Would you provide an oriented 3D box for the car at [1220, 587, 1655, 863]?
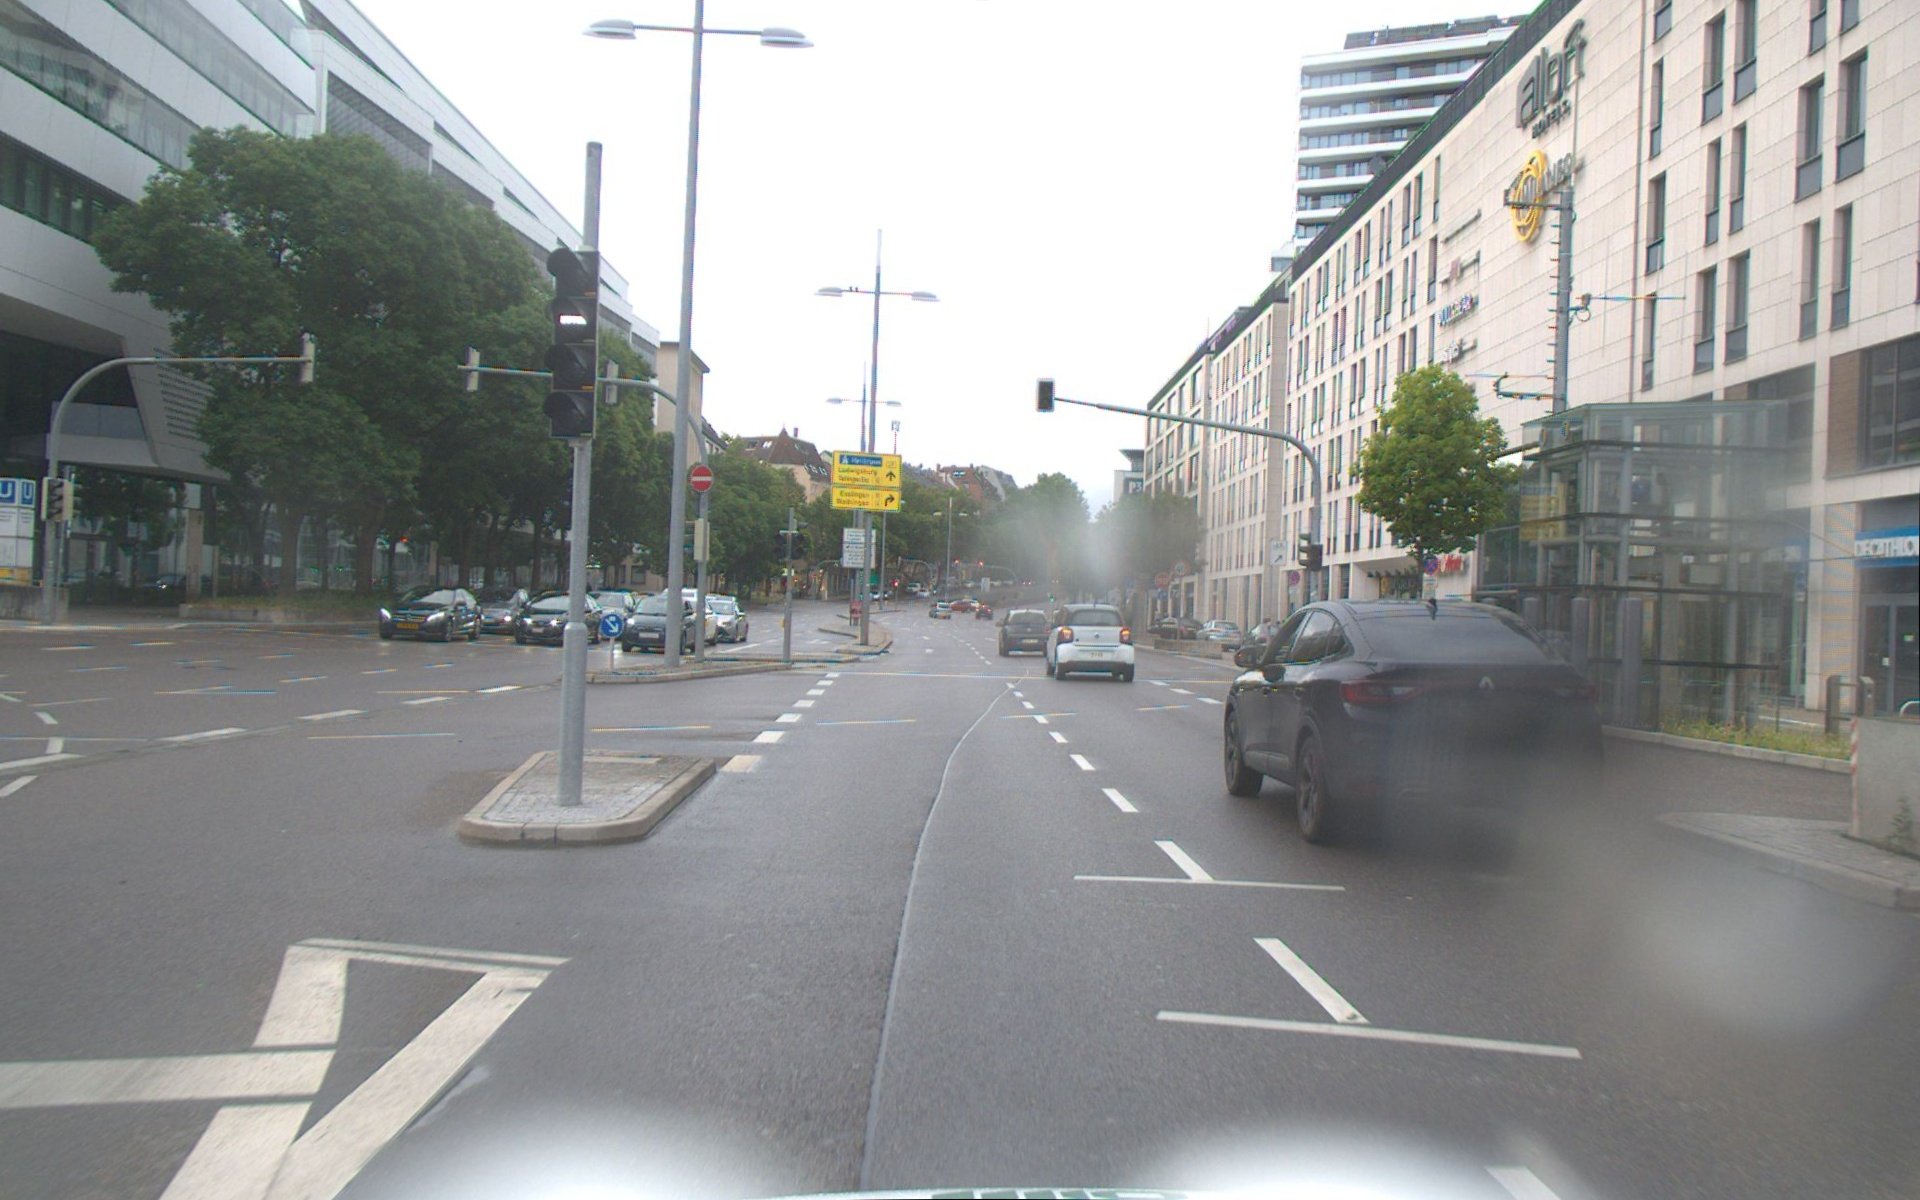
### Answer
[{"bbox_3d":[3.123,0.713,11.802,1.754,1.533,4.338,1,1,-1],"label":"car"}]

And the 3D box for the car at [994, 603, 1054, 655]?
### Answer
[{"bbox_3d":[2.045,0.913,53.443,1.704,1.558,3.813,1,0,-1],"label":"car"}]

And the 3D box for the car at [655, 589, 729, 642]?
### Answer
[{"bbox_3d":[-8.473,0.479,52.580,1.668,1.586,4.244,1,0,-1],"label":"car"}]

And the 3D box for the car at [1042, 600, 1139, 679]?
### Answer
[{"bbox_3d":[2.728,0.806,35.210,1.689,1.558,3.813,1,0,-1],"label":"car"}]

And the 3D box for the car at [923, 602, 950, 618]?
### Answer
[{"bbox_3d":[-2.481,1.021,173.702,1.713,1.558,3.795,1,1,-18],"label":"car"}]

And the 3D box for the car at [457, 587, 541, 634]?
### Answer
[{"bbox_3d":[-14.758,0.334,53.097,1.708,1.448,3.539,1,0,-1],"label":"car"}]

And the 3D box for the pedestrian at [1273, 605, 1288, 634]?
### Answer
[{"bbox_3d":[17.909,1.091,92.367,0.660,1.555,0.726,1,-1,-1],"label":"pedestrian"}]

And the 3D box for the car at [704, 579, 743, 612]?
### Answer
[{"bbox_3d":[-13.478,-0.250,94.266,1.708,1.779,3.539,1,0,-1],"label":"car"}]

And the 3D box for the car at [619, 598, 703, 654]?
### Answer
[{"bbox_3d":[-8.182,0.700,45.522,1.708,1.470,3.394,1,0,-1],"label":"car"}]

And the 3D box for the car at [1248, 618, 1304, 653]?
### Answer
[{"bbox_3d":[12.273,1.363,64.430,1.475,1.288,3.501,1,0,-1],"label":"car"}]

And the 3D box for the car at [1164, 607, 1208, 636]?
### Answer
[{"bbox_3d":[11.400,1.064,83.754,1.627,1.425,3.831,1,0,-1],"label":"car"}]

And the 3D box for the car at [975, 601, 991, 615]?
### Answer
[{"bbox_3d":[2.564,0.920,184.479,1.704,1.558,3.813,1,0,-1],"label":"car"}]

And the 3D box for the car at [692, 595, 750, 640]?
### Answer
[{"bbox_3d":[-8.297,0.599,57.759,1.507,1.503,3.695,1,0,-1],"label":"car"}]

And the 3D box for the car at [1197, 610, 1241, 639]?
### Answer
[{"bbox_3d":[12.218,1.152,78.310,1.475,1.288,3.501,1,0,-1],"label":"car"}]

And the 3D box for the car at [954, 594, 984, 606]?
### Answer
[{"bbox_3d":[1.199,-0.016,219.649,3.744,1.558,1.736,1,1,-19],"label":"car"}]

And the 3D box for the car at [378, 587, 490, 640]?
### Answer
[{"bbox_3d":[-14.228,0.363,44.980,1.708,1.352,4.225,1,0,-1],"label":"car"}]

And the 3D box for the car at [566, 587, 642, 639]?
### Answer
[{"bbox_3d":[-11.487,0.428,53.595,1.708,1.586,3.539,1,0,-1],"label":"car"}]

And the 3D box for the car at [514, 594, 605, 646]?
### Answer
[{"bbox_3d":[-11.218,0.539,46.548,1.708,1.279,3.539,2,1,-1],"label":"car"}]
